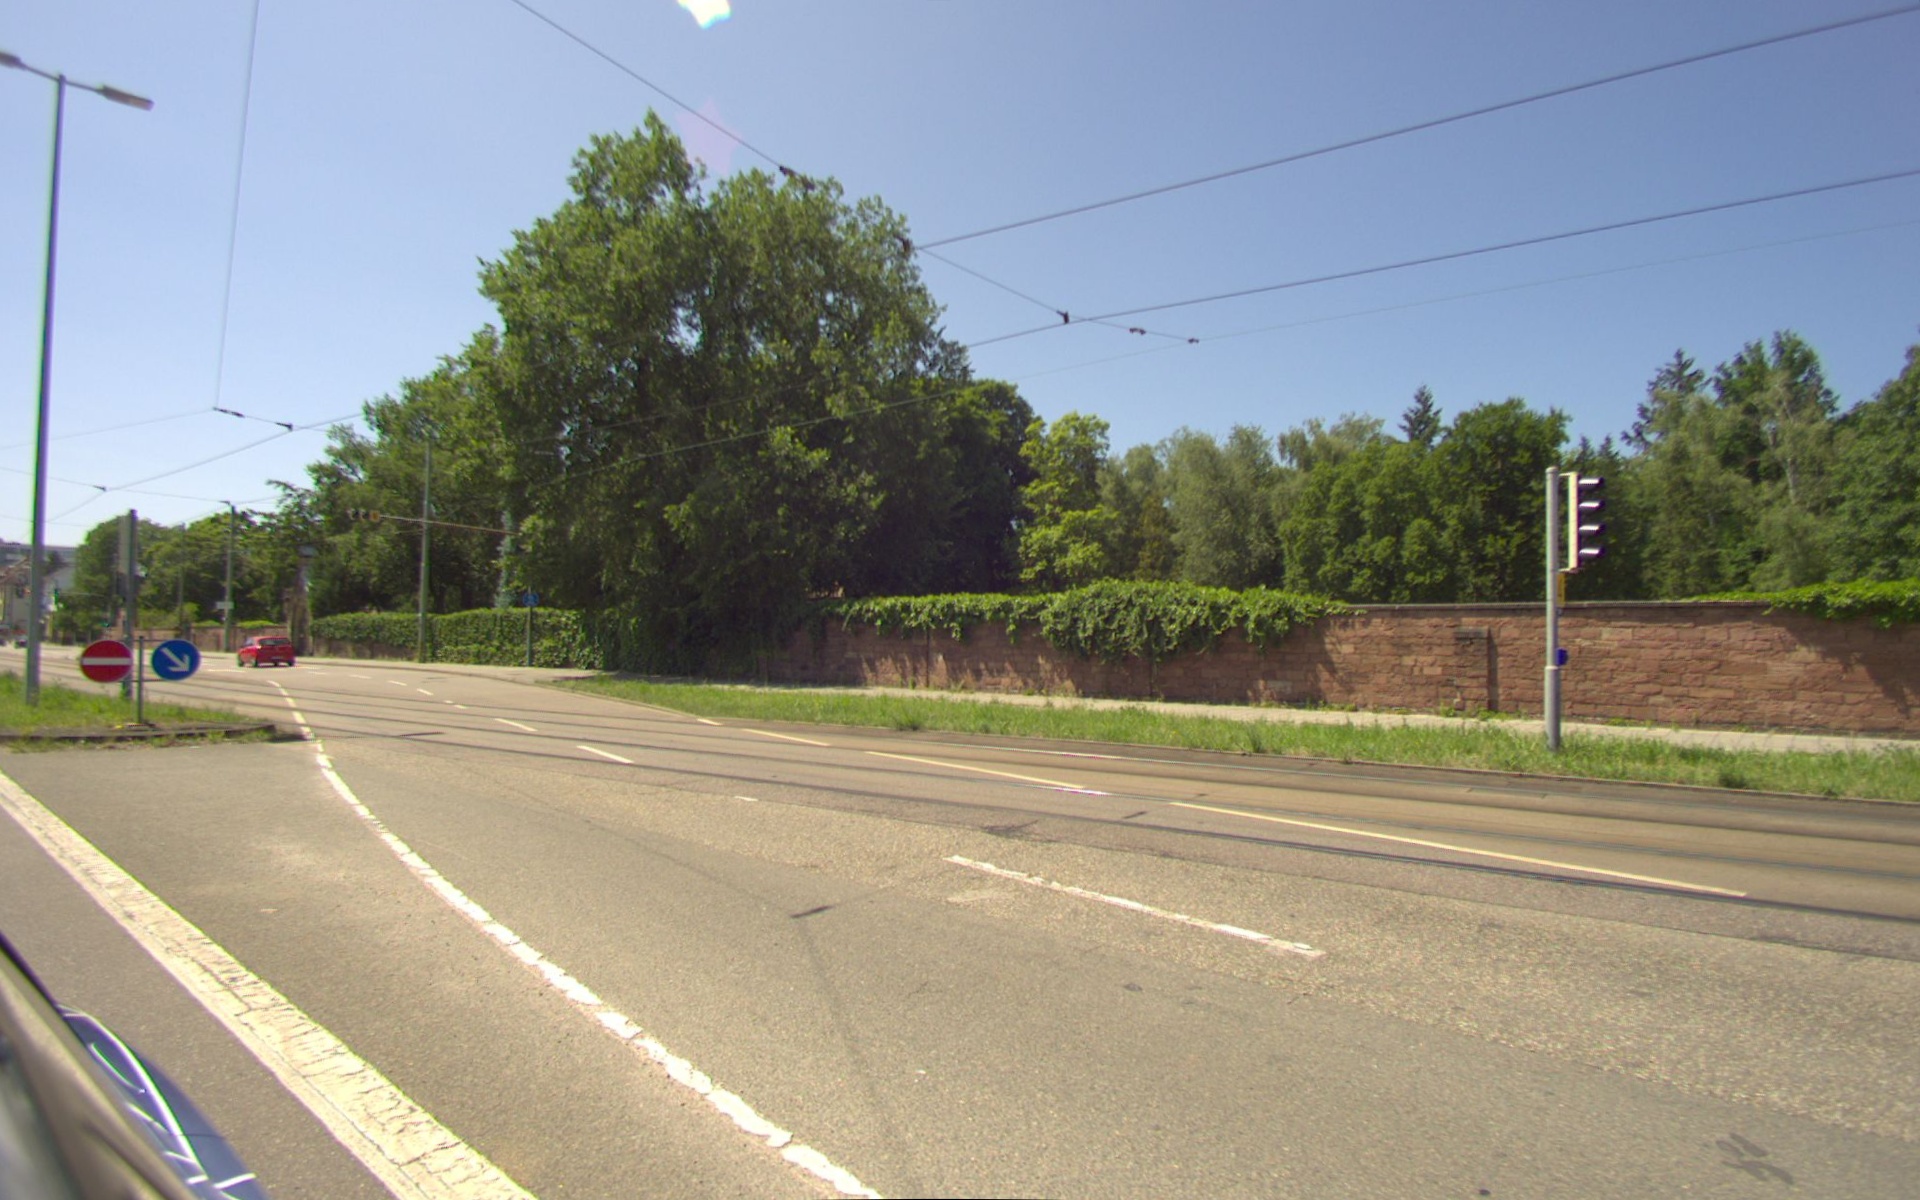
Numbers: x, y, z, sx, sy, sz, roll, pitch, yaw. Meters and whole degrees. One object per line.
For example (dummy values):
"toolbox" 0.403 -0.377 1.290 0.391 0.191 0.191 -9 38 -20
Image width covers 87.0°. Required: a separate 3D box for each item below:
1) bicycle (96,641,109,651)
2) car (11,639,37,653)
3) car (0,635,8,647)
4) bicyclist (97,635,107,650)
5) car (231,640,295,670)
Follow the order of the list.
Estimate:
"bicycle" -84.701 4.562 99.935 2.113 0.964 0.645 -2 -3 40
"car" -100.825 4.906 109.014 4.123 1.459 1.736 -2 -1 43
"car" -124.237 5.301 130.375 5.032 1.427 1.821 -2 0 42
"bicyclist" -84.722 4.214 99.968 0.662 1.508 0.646 -2 -3 40
"car" -33.888 2.637 49.162 4.282 1.425 1.687 -2 -3 44
